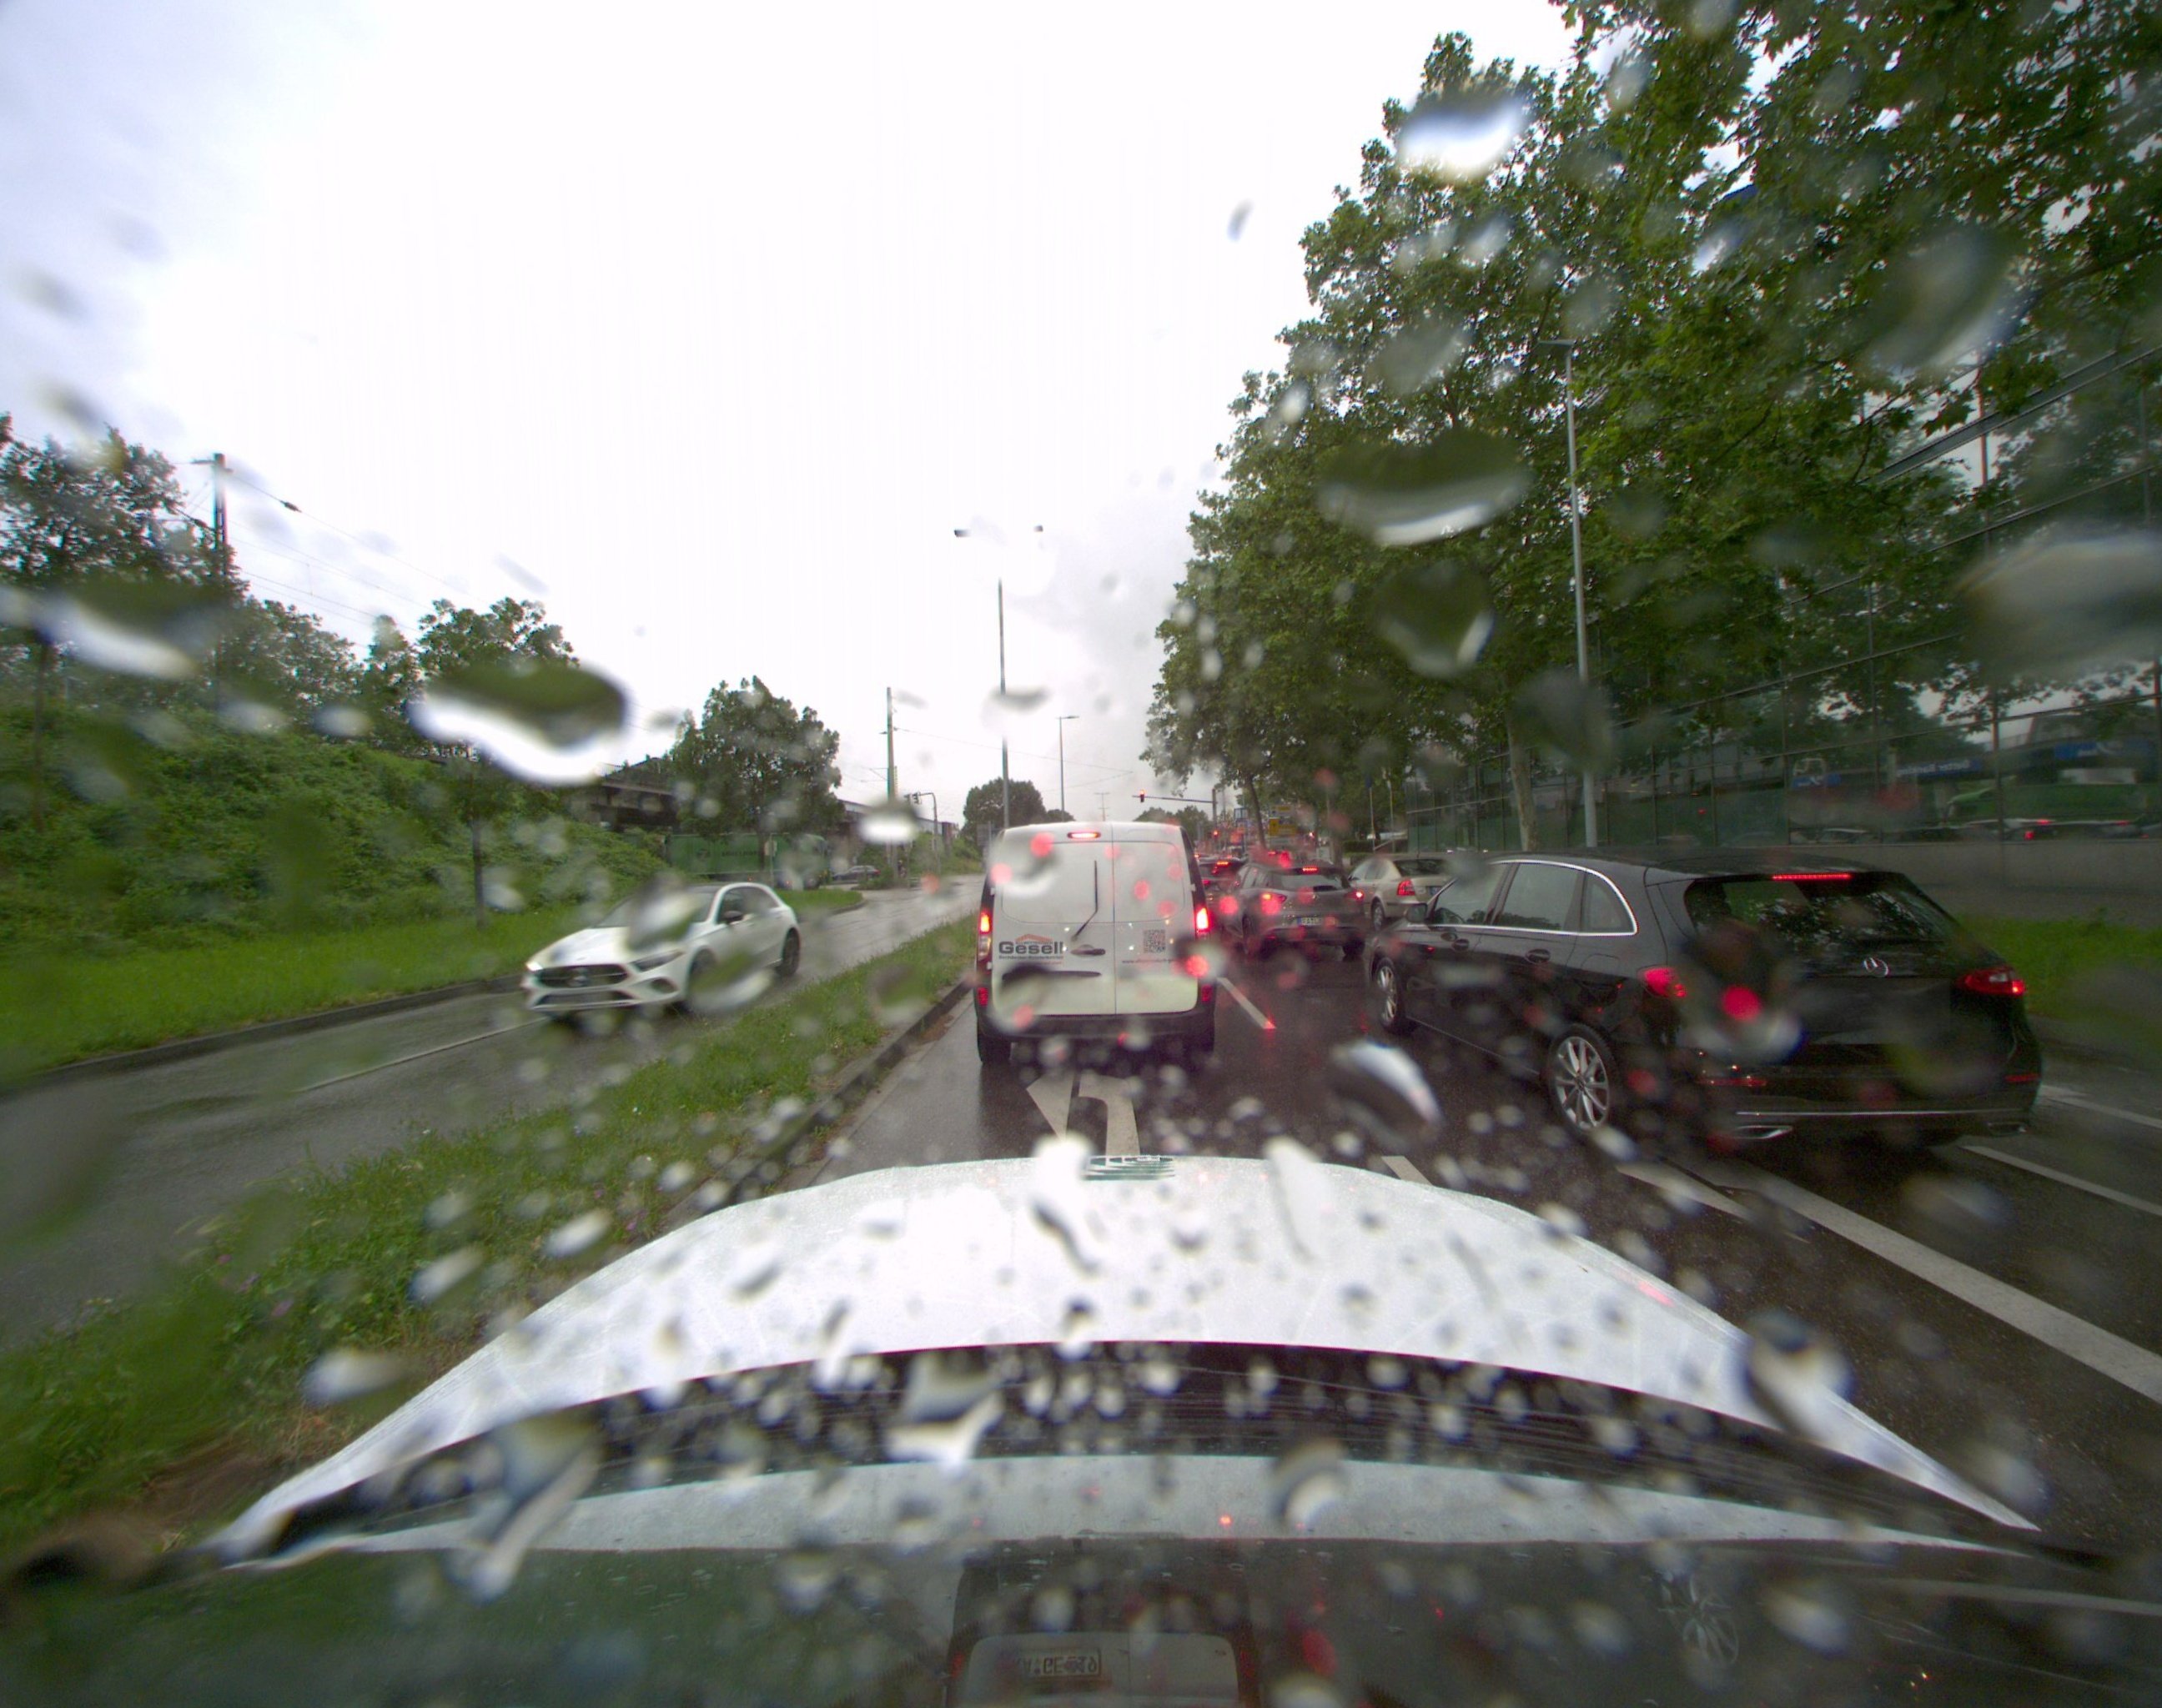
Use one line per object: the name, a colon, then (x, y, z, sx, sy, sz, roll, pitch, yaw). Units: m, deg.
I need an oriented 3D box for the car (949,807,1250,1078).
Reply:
car: (0.195, 0.588, 7.769, 1.986, 1.776, 4.587, -1, 0, 2)

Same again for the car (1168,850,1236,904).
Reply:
car: (4.062, 0.729, 27.898, 1.847, 1.649, 3.844, -1, 0, 2)

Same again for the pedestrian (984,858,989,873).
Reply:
pedestrian: (-11.242, 1.370, 96.618, 0.541, 1.716, 0.563, 0, -1, -2)

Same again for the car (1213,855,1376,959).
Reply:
car: (3.259, 0.731, 13.158, 1.677, 1.408, 3.844, 0, 0, 1)

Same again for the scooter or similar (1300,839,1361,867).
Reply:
scooter or similar: (23.450, -0.071, 76.683, 1.905, 2.446, 5.257, -1, 0, -39)

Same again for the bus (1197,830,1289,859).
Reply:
bus: (21.892, -1.341, 110.588, 11.926, 3.423, 2.316, -2, 0, 1)

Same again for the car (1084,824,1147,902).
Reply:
car: (1.101, 0.265, 26.539, 1.847, 2.296, 3.844, -1, 0, 2)

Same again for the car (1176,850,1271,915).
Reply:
car: (3.503, 0.656, 20.679, 1.847, 1.460, 3.844, -1, 0, 2)

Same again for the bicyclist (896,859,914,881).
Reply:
bicyclist: (-12.116, 1.084, 55.953, 1.045, 1.450, 0.723, -2, 0, -23)

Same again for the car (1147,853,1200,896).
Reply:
car: (3.756, 0.815, 33.571, 1.847, 1.650, 3.844, -1, -1, 2)

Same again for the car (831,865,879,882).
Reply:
car: (-20.791, 1.773, 75.027, 3.886, 1.385, 1.663, -2, 0, -35)

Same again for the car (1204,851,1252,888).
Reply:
car: (6.907, 0.713, 38.611, 1.702, 1.650, 3.844, -1, -1, 2)

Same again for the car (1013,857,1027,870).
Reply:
car: (-7.968, 1.190, 106.762, 1.463, 1.559, 3.508, -2, 0, 1)

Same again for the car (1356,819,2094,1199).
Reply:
car: (3.379, 0.647, 5.446, 1.741, 1.554, 4.091, -1, 0, 1)

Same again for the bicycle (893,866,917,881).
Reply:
bicycle: (-12.133, 1.332, 56.017, 1.045, 0.952, 2.866, -2, 0, -22)

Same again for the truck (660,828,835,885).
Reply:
truck: (-21.267, 0.055, 52.375, 10.105, 3.371, 2.322, -2, 0, -35)

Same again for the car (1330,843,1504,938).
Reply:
car: (6.356, 0.606, 15.945, 1.869, 1.613, 4.002, 0, 0, 2)

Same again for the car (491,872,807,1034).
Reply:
car: (-5.171, 1.068, 10.473, 1.728, 1.519, 4.048, -4, -1, 1)
